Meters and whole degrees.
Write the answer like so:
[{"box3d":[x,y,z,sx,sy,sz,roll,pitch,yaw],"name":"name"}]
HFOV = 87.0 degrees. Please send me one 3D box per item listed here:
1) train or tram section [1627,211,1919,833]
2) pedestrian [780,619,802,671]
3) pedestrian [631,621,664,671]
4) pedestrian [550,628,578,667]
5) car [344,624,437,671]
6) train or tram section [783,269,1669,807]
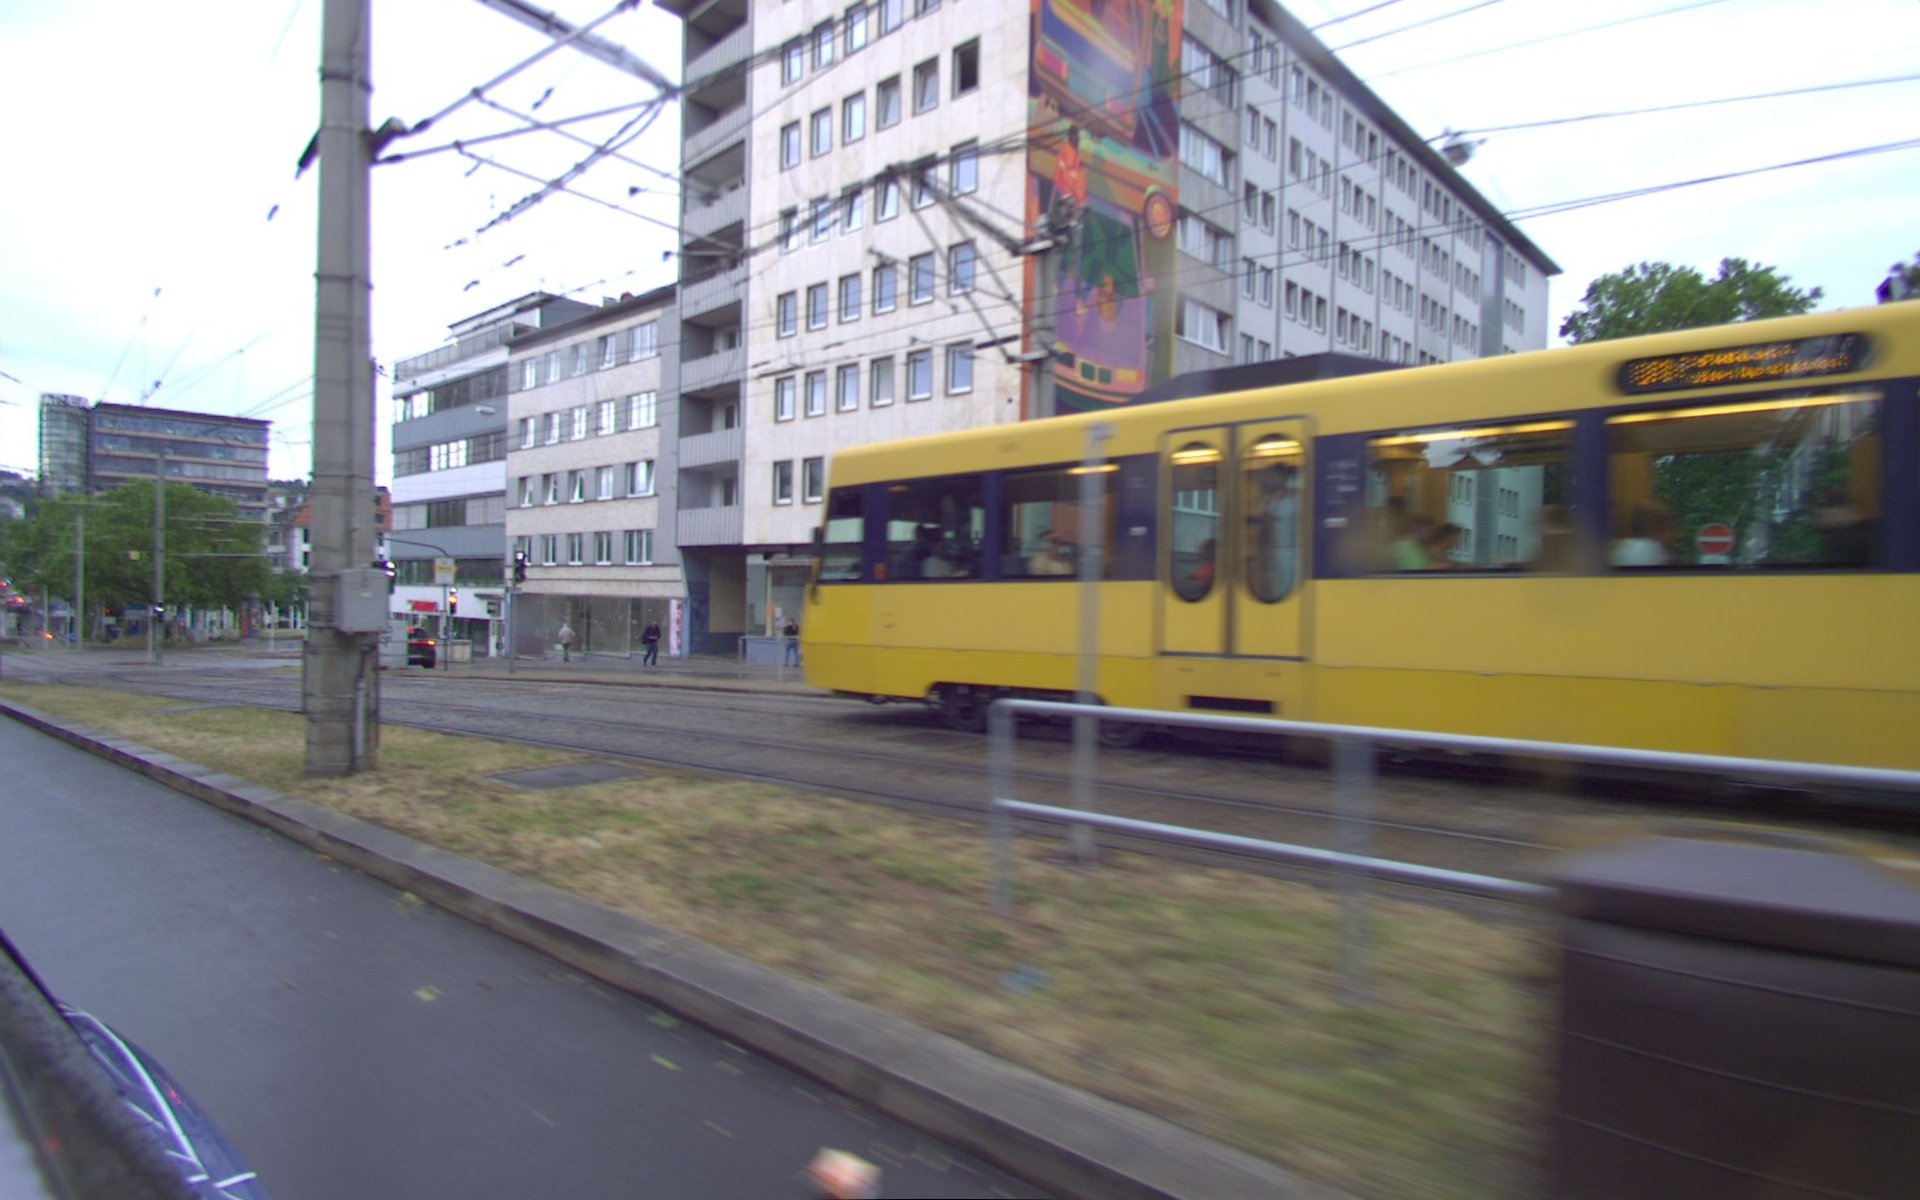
[{"box3d":[9.127,-0.518,4.962,9.503,3.720,2.750,-1,0,40],"name":"train or tram section"},{"box3d":[-5.504,1.465,32.991,0.436,1.683,0.519,-2,-1,41],"name":"pedestrian"},{"box3d":[-11.022,1.617,35.688,0.776,1.720,0.893,-1,-2,-44],"name":"pedestrian"},{"box3d":[-16.938,2.017,43.273,0.892,1.605,0.781,-3,-2,42],"name":"pedestrian"},{"box3d":[-21.387,1.796,37.966,3.864,1.646,1.801,-3,-2,40],"name":"car"},{"box3d":[2.064,-0.380,10.963,8.968,3.720,2.750,-1,0,40],"name":"train or tram section"}]
